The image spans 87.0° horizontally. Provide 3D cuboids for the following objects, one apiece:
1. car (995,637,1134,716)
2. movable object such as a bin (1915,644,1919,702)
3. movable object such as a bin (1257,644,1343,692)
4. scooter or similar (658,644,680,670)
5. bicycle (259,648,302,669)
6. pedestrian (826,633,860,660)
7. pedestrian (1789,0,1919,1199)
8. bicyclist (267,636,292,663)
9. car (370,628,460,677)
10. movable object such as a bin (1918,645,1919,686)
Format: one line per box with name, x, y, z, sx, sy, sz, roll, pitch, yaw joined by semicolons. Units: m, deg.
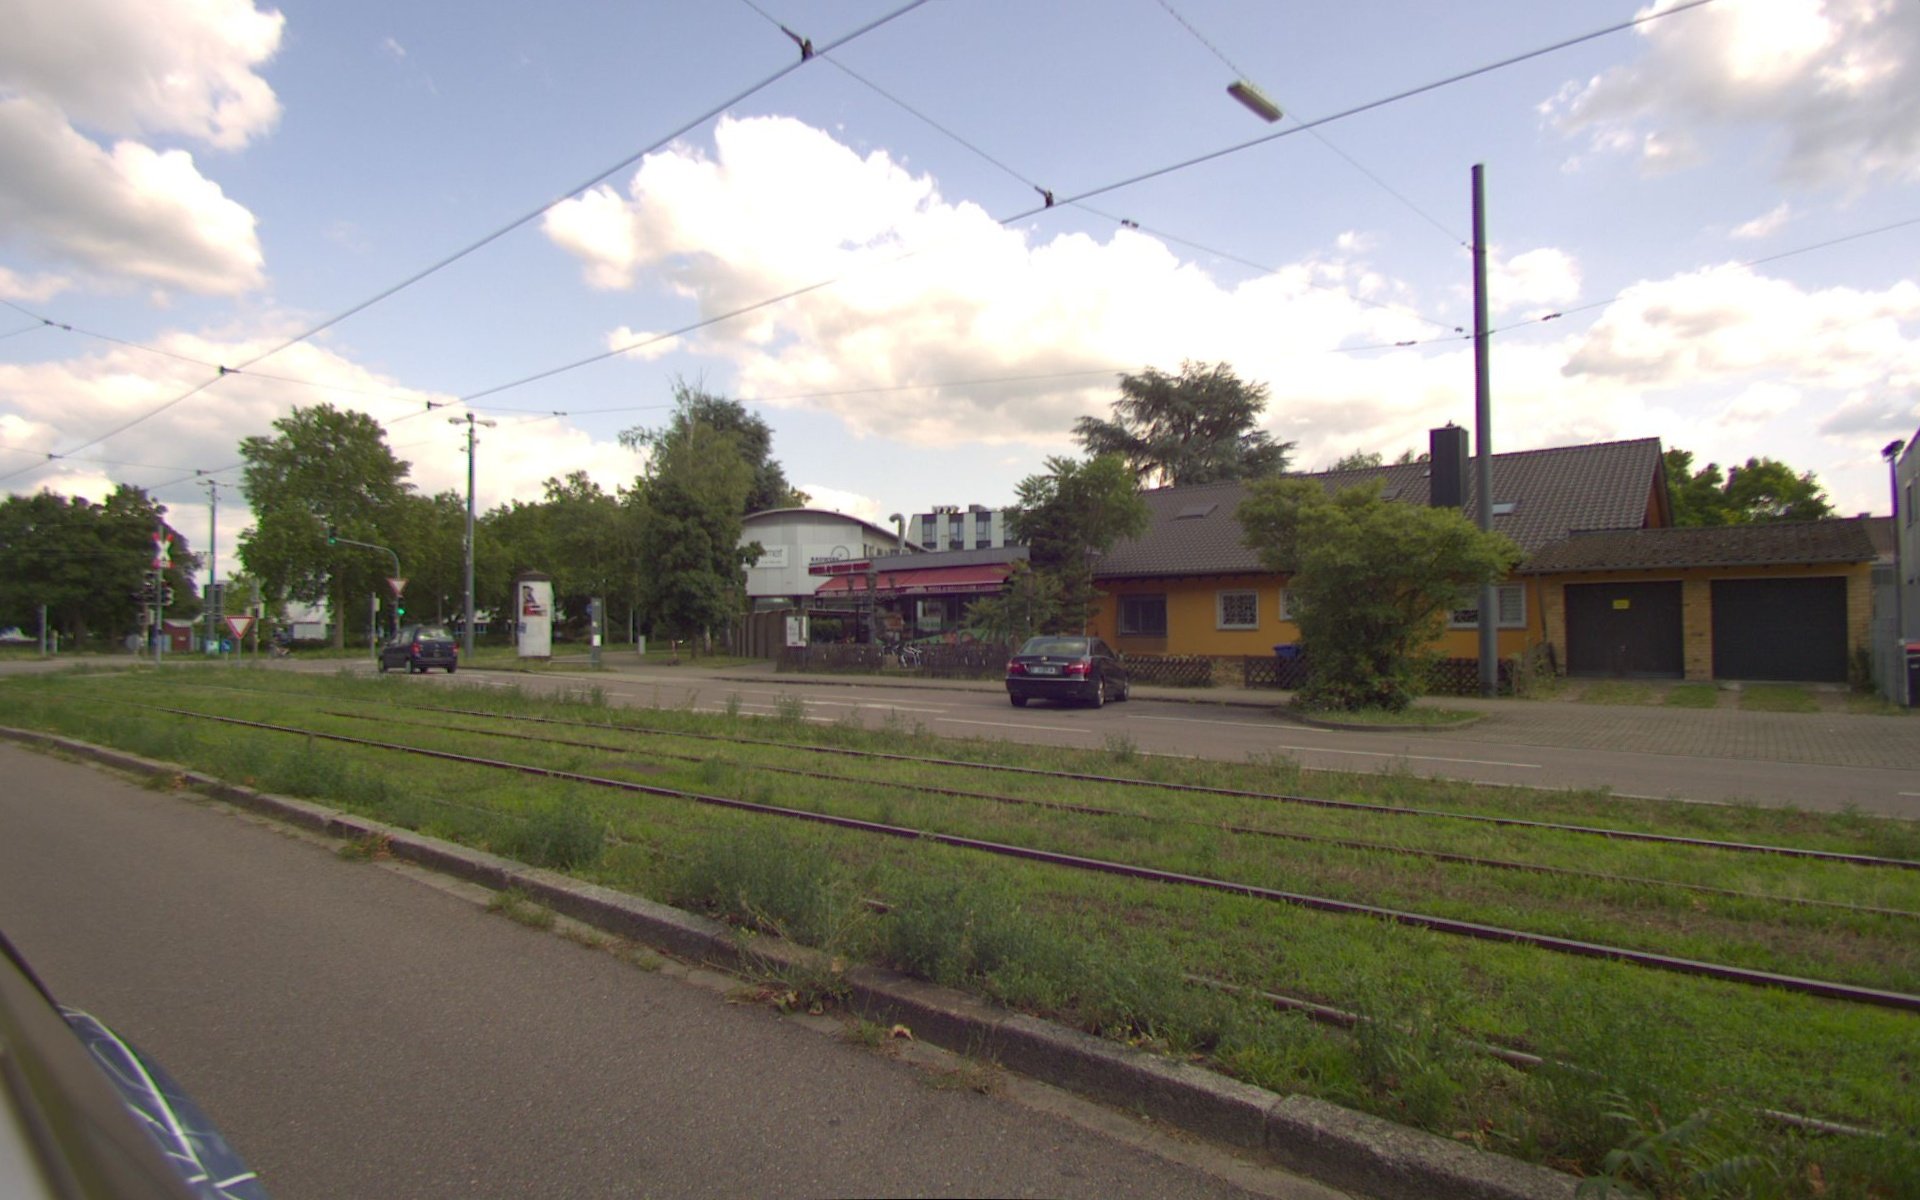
car;2.320;1.498;21.187;1.869;1.418;4.620;0;-2;19
movable object such as a bin;17.689;1.331;18.336;0.479;1.050;0.488;-3;-2;40
movable object such as a bin;8.164;1.608;24.318;1.616;1.109;1.242;-2;-3;39
scooter or similar;-12.184;2.375;42.337;0.421;1.041;1.225;1;-3;-40
bicycle;-38.097;3.277;56.742;2.047;1.068;0.802;-3;-2;11
pedestrian;-5.017;1.984;43.537;0.931;1.155;1.141;-2;-3;41
pedestrian;1.097;0.393;0.484;0.836;1.699;0.808;0;-2;-30
bicyclist;-38.186;2.786;56.777;0.823;1.481;0.802;-3;-2;10
car;-19.433;1.828;36.041;3.495;1.639;1.759;-1;-2;42
movable object such as a bin;17.335;1.336;17.910;0.481;1.050;0.499;-3;-2;40
